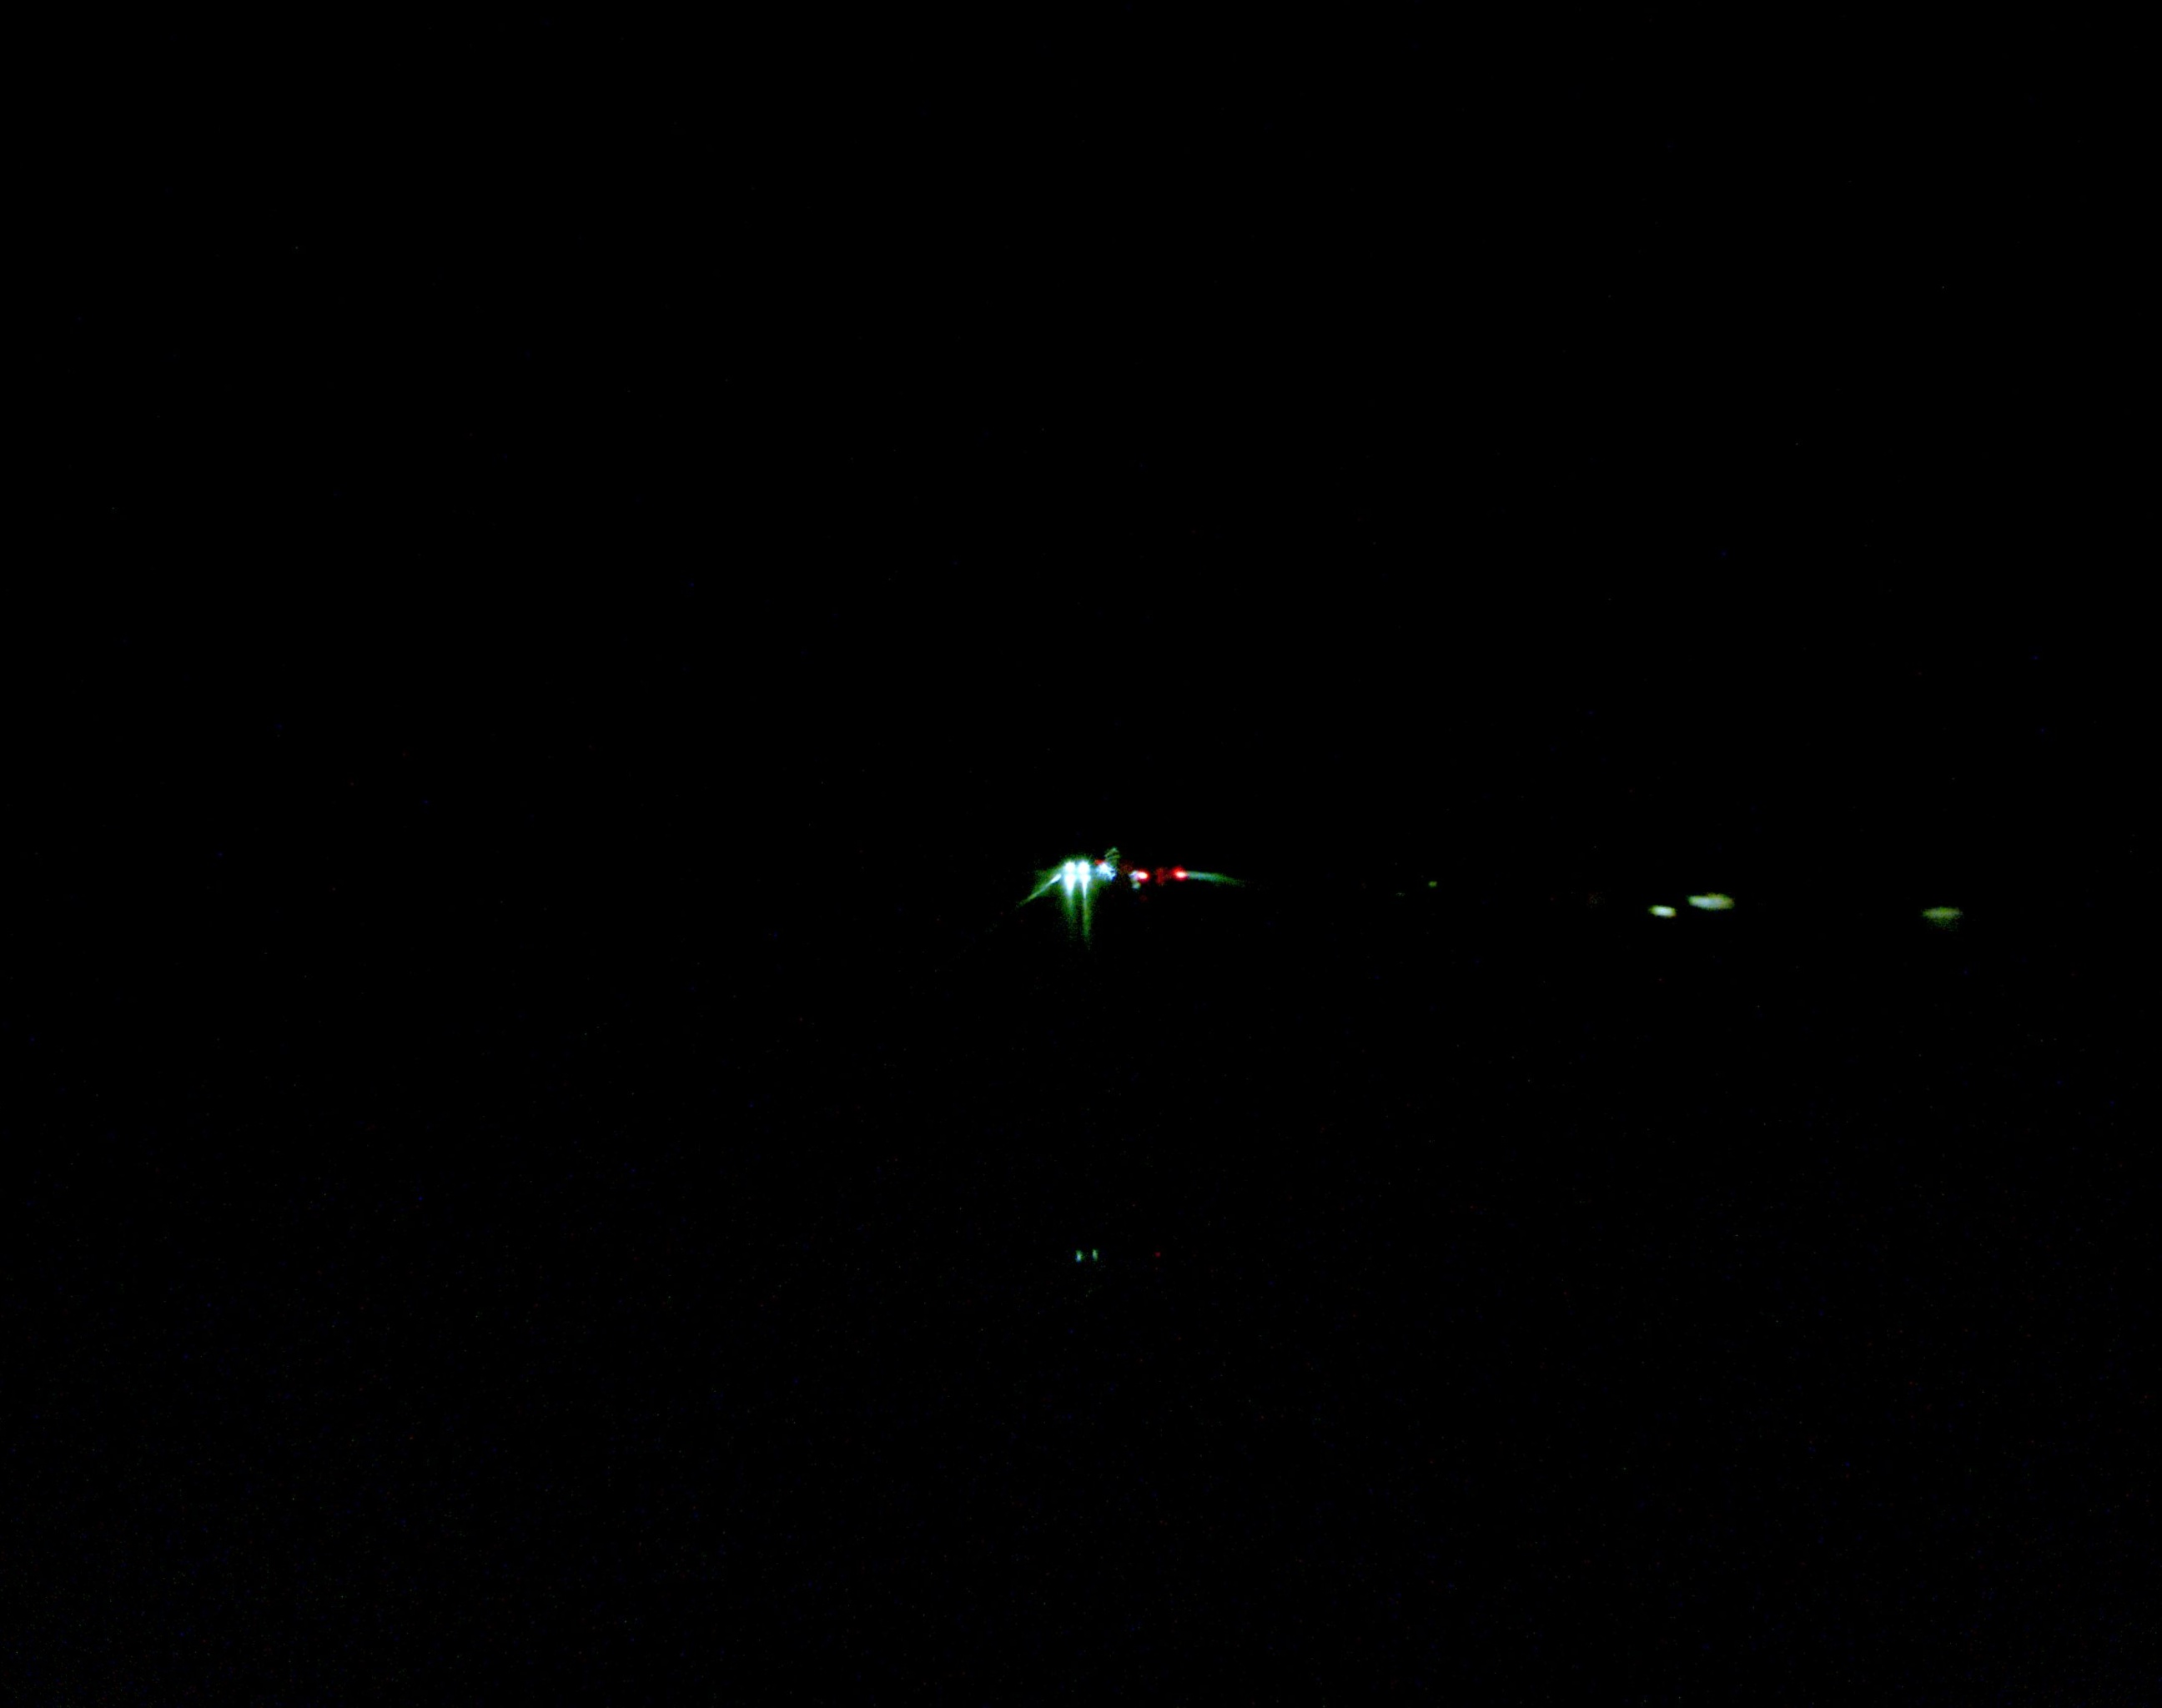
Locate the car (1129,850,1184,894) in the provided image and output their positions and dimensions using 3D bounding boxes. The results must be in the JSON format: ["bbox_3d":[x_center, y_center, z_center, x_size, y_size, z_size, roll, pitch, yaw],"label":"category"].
[{"bbox_3d":[3.345,0.754,34.402,1.998,1.814,4.563,-1,0,0],"label":"car"}]

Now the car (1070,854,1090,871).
[{"bbox_3d":[-0.083,0.940,83.851,1.998,1.724,4.000,3,0,1],"label":"car"}]

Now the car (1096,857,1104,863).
[{"bbox_3d":[5.284,1.657,211.050,2.103,1.630,4.455,2,0,0],"label":"car"}]
